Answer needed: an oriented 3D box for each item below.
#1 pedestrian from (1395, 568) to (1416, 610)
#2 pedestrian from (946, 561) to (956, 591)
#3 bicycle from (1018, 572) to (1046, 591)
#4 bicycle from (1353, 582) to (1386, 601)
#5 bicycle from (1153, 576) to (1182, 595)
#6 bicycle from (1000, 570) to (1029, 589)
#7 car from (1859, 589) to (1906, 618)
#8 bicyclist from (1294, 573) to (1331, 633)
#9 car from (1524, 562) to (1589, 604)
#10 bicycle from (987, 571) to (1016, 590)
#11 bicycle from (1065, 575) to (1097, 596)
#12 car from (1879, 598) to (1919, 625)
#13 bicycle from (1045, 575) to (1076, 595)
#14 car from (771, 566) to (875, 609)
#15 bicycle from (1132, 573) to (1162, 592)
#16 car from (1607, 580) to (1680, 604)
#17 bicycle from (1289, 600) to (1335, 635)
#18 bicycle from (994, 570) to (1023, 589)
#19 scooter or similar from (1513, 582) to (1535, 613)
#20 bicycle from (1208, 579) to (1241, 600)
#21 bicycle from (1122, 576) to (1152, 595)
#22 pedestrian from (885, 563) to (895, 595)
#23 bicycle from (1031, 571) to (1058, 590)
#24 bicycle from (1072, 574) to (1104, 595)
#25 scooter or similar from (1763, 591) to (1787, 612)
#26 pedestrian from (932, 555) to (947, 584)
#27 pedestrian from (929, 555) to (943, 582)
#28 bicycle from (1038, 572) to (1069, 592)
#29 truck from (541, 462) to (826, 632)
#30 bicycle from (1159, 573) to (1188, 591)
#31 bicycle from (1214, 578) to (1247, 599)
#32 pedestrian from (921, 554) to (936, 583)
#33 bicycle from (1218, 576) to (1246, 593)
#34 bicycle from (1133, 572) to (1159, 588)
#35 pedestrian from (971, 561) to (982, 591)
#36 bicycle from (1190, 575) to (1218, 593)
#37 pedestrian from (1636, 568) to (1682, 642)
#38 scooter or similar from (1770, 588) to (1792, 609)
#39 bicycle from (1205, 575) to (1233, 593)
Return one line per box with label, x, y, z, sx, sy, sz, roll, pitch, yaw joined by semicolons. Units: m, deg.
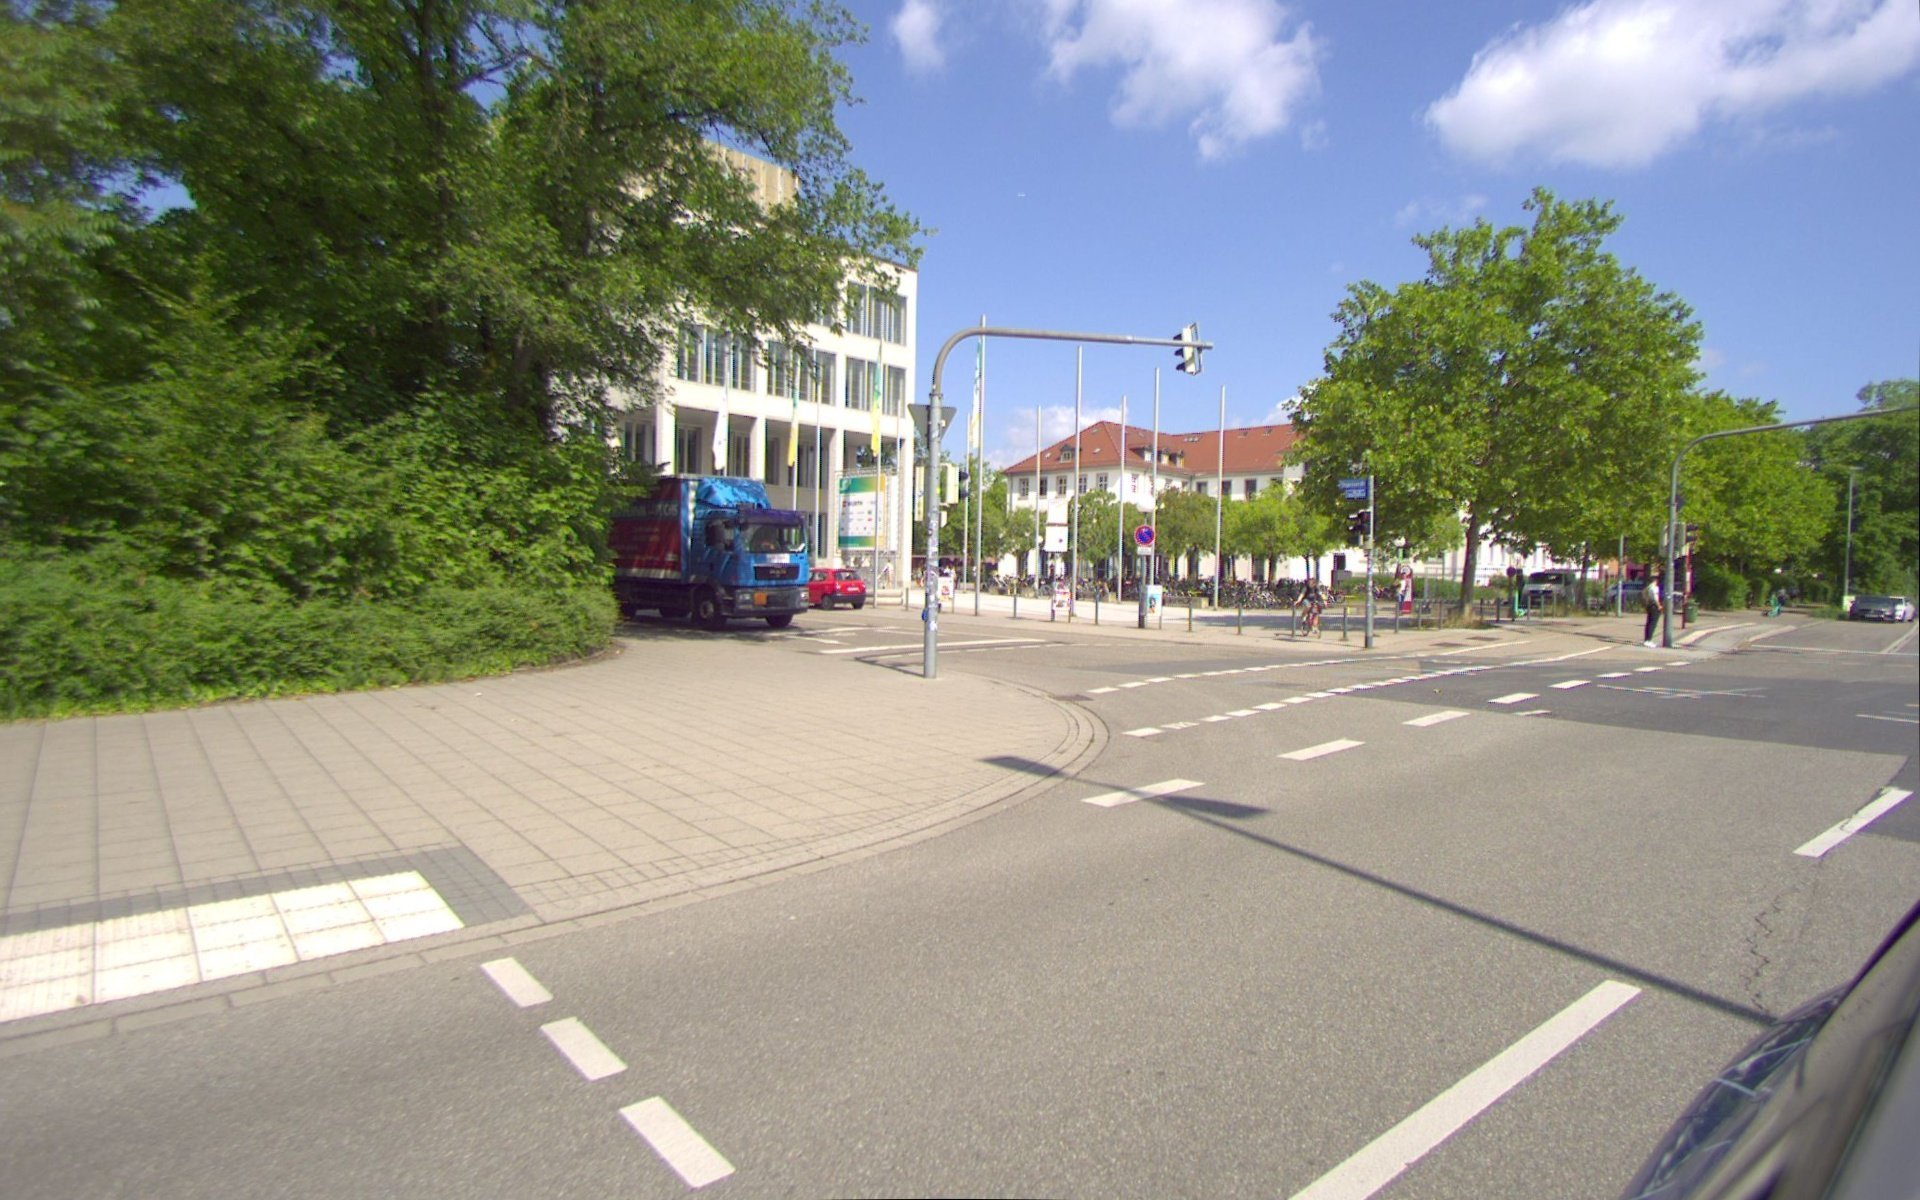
pedestrian;17.992;-0.433;40.917;0.630;1.670;0.739;1;1;15
pedestrian;-0.533;-1.483;62.562;0.503;1.870;0.535;0;1;-13
bicycle;4.392;-1.145;61.558;1.666;1.110;0.618;2;1;41
bicycle;24.163;-0.518;59.712;1.666;1.110;0.617;2;1;41
bicycle;12.743;-0.879;62.205;1.666;1.110;0.617;2;1;41
bicycle;3.239;-1.208;60.073;1.666;1.110;0.618;2;1;41
car;48.458;0.158;53.164;1.704;1.345;3.939;5;4;42
bicyclist;9.199;0.071;26.424;0.600;1.526;0.920;1;1;-2
car;30.588;-0.857;51.831;1.992;2.039;4.829;2;2;42
bicycle;2.389;-1.148;58.967;1.666;1.110;0.618;2;1;41
bicycle;6.598;-0.793;55.238;1.666;1.110;0.618;2;1;41
car;52.856;0.636;56.673;3.931;1.359;1.559;0;4;-42
bicycle;5.642;-0.853;56.929;1.666;1.110;0.618;2;1;41
car;-5.155;-0.510;37.864;3.985;1.497;1.696;2;4;42
bicycle;11.054;-1.054;59.723;1.666;1.110;0.617;2;1;41
car;45.976;-0.556;68.086;3.979;1.442;1.734;2;2;38
bicycle;9.199;0.444;26.477;0.608;0.843;1.516;1;2;-2
bicycle;2.854;-1.197;59.504;1.666;1.110;0.618;2;1;41
scooter or similar;21.127;-0.087;37.901;1.148;1.143;0.347;0;1;-43
bicycle;14.435;-0.600;55.294;1.666;1.110;0.617;2;1;41
bicycle;10.315;-0.858;59.055;1.666;1.110;0.617;2;1;41
pedestrian;-3.952;-1.188;57.021;0.432;1.829;0.486;1;1;-14
bicycle;5.205;-1.211;62.359;1.666;1.110;0.617;2;1;41
bicycle;7.038;-0.851;55.823;1.666;1.110;0.618;2;1;41
scooter or similar;43.137;0.063;53.545;1.342;1.084;0.519;0;1;-29
pedestrian;-1.331;-1.969;66.102;0.690;1.871;0.635;1;1;35
pedestrian;-1.617;-2.167;69.358;0.690;1.871;0.635;1;1;35
bicycle;5.192;-0.995;56.407;1.666;1.110;0.618;2;1;41
truck;-7.972;-1.484;27.914;10.109;3.928;2.737;3;4;43
bicycle;13.276;-1.107;63.003;1.666;1.110;0.617;2;1;41
bicycle;14.984;-0.654;56.065;1.666;1.110;0.617;2;1;41
pedestrian;-2.009;-2.001;64.252;0.787;1.871;0.696;1;1;-18
bicycle;18.093;-1.045;67.263;1.666;1.110;0.617;2;1;41
bicycle;12.957;-1.376;70.431;1.666;1.110;0.617;2;1;41
pedestrian;1.046;-1.506;64.122;0.503;1.870;0.535;0;1;-13
bicycle;15.690;-1.041;65.159;1.666;1.110;0.617;2;1;41
pedestrian;18.114;0.107;26.232;0.926;1.847;0.701;-1;5;-44
scooter or similar;41.759;-0.081;51.480;1.414;1.091;0.518;0;1;-37
bicycle;16.846;-1.050;65.887;1.666;1.110;0.617;2;1;41
